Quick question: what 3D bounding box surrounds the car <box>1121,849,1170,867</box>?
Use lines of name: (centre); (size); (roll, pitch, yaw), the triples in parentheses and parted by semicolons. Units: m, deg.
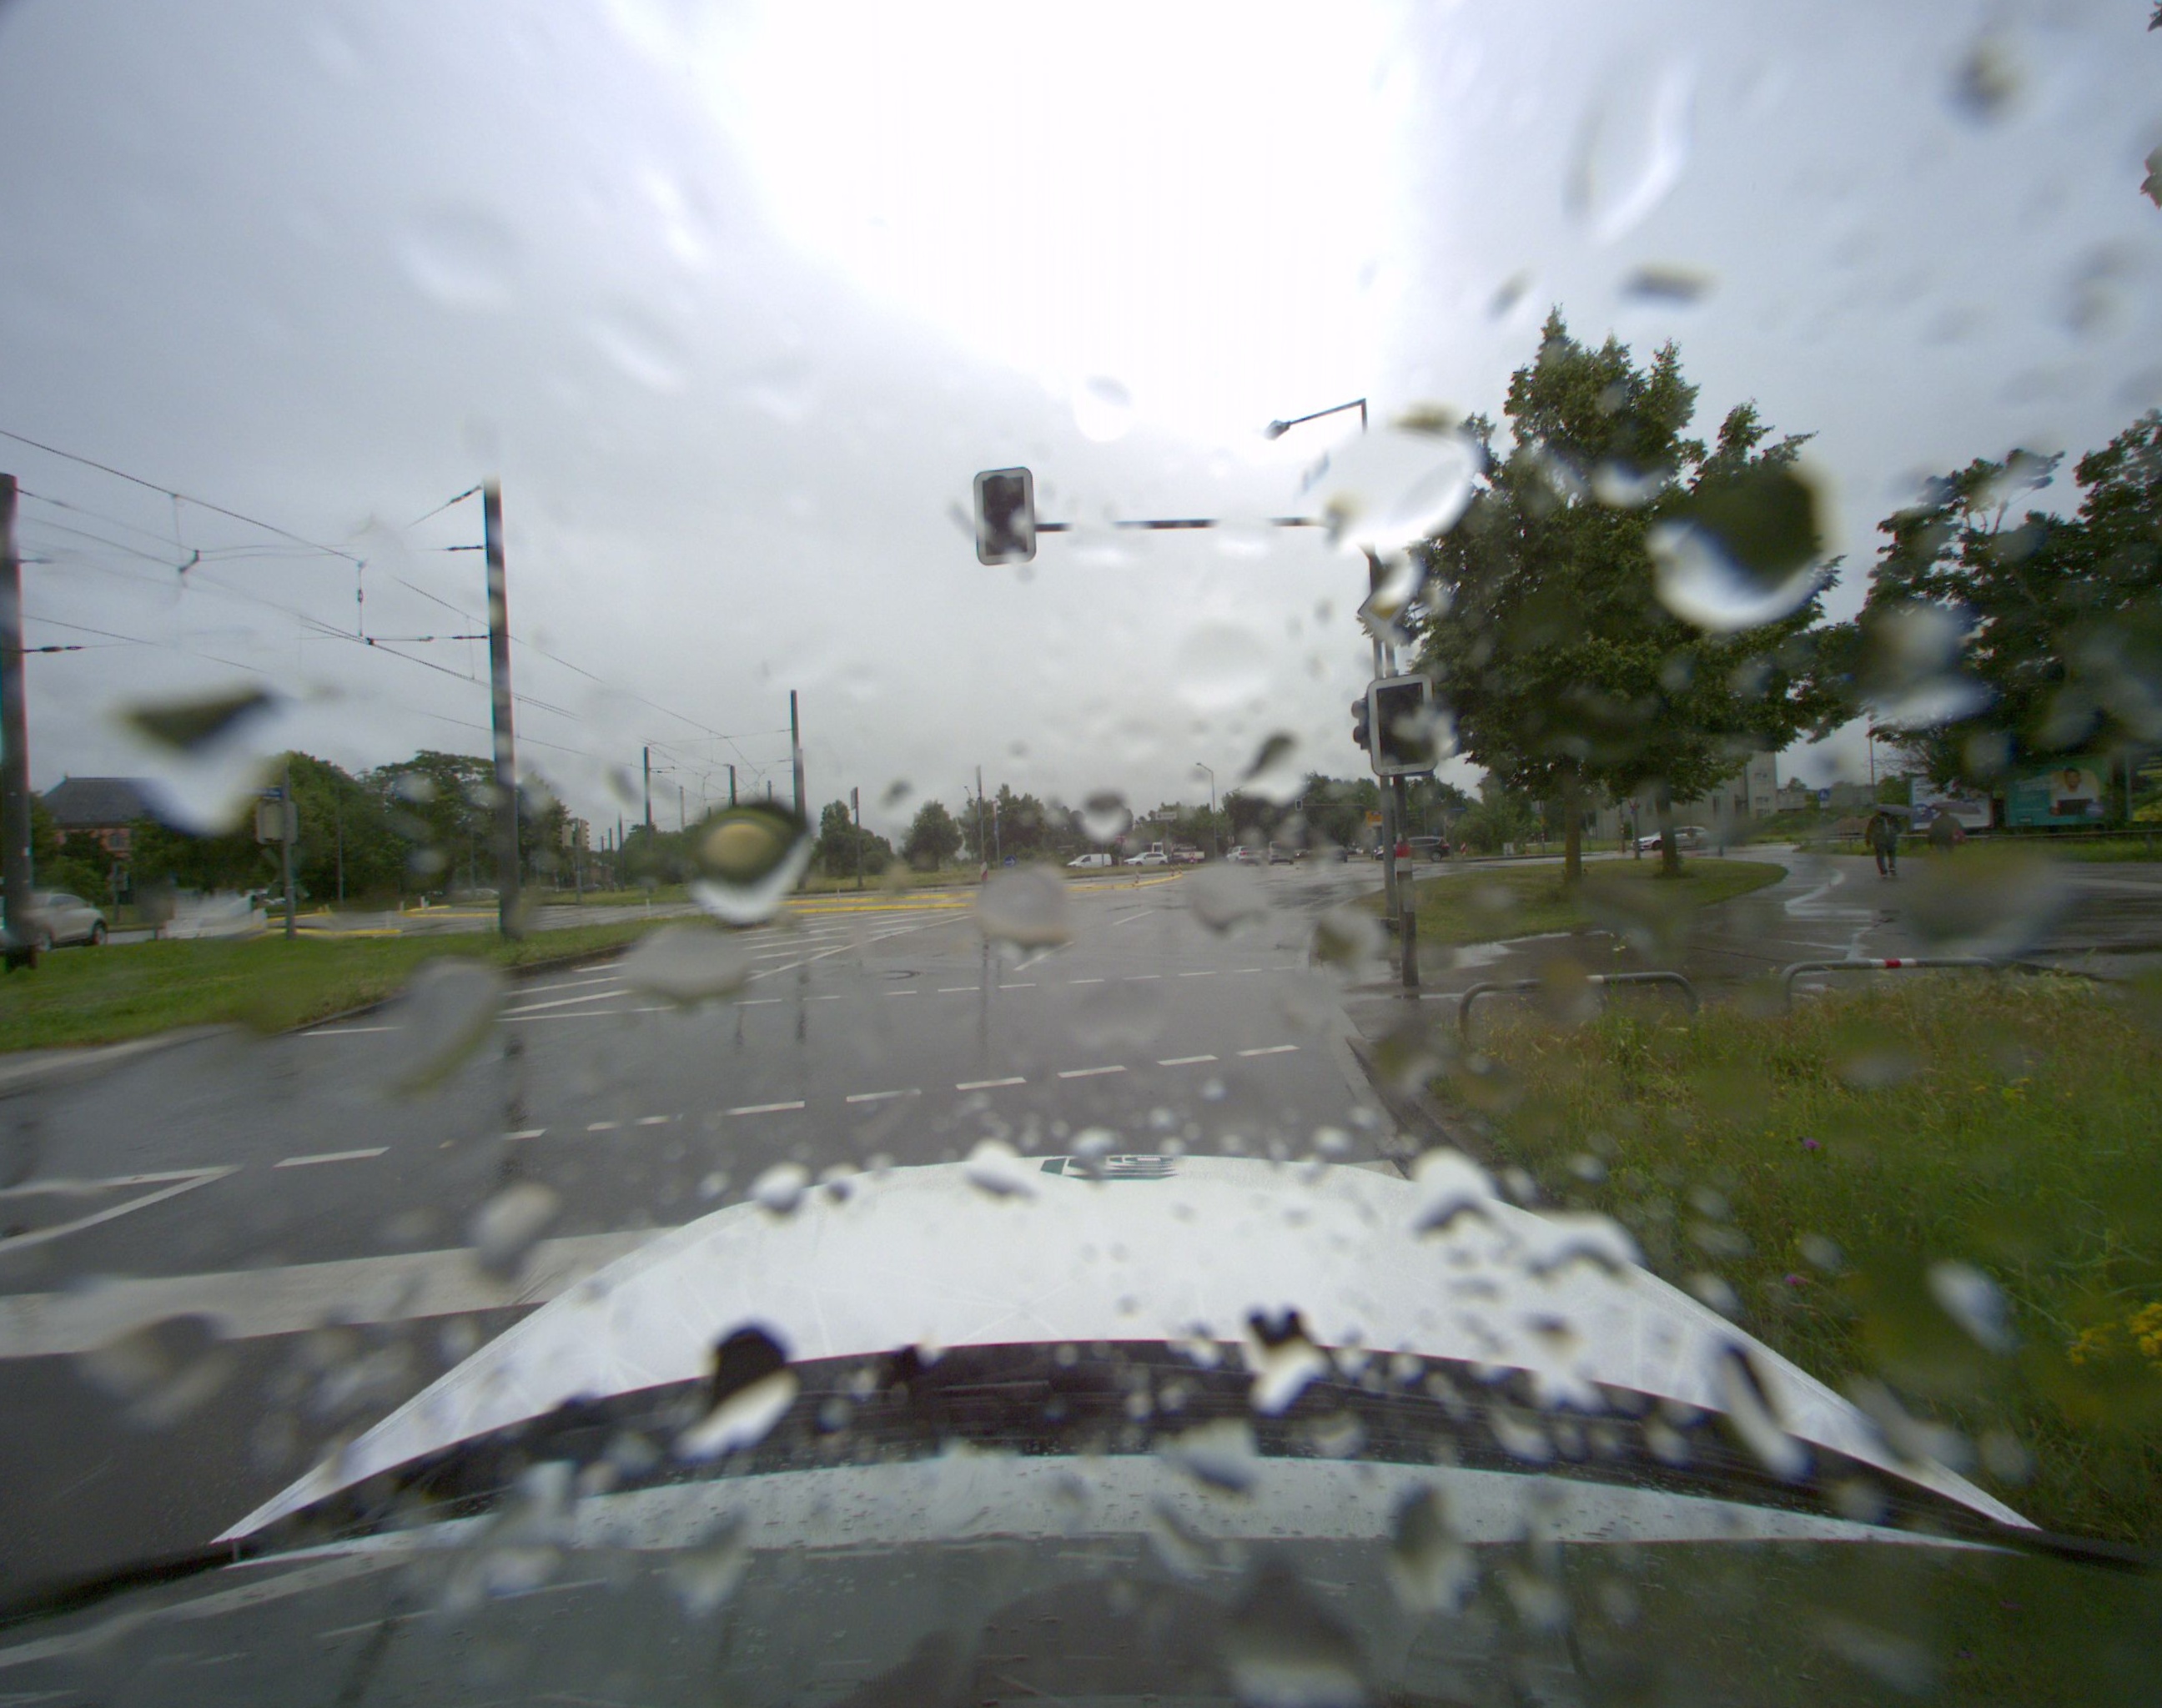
car: (6.638, 0.415, 83.803); (4.881, 1.744, 1.760); (0, -1, -31)

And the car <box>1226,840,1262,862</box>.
car: (12.745, -0.188, 63.936); (1.678, 1.648, 3.939); (0, -1, -6)

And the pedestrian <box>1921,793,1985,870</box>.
pedestrian: (20.948, -0.523, 19.573); (0.811, 1.784, 0.914); (0, -1, -33)

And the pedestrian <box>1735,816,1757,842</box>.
pedestrian: (46.711, -1.762, 57.225); (0.947, 1.772, 0.715); (-1, -1, 11)

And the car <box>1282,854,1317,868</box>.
car: (28.206, 0.899, 104.912); (4.889, 1.744, 1.758); (0, -1, -38)

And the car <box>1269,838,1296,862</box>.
car: (17.431, -0.330, 70.310); (1.768, 2.036, 4.021); (-1, -1, 22)

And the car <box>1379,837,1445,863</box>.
car: (21.702, -0.222, 53.505); (3.954, 1.648, 1.798); (-1, -1, 19)

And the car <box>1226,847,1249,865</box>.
car: (13.860, 0.189, 72.103); (1.676, 1.492, 3.264); (-1, -1, 16)

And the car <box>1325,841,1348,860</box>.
car: (21.245, -0.319, 67.790); (1.676, 1.492, 3.264); (-3, 0, 15)

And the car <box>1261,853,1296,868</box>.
car: (23.610, 0.763, 97.268); (4.894, 1.744, 1.756); (0, -1, -45)

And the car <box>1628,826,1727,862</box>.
car: (37.613, -0.634, 51.415); (4.804, 1.810, 1.790); (-5, 0, 1)

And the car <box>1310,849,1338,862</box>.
car: (33.110, 0.167, 111.112); (1.975, 1.750, 4.023); (-1, -1, 45)

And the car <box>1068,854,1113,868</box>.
car: (0.975, 0.725, 85.287); (4.561, 1.492, 1.597); (0, -1, -29)

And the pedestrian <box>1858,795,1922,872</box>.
pedestrian: (19.352, -0.468, 19.479); (0.811, 1.784, 0.914); (0, -1, -33)

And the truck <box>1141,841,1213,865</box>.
truck: (11.299, -0.098, 95.469); (8.820, 2.711, 1.981); (0, -1, -29)

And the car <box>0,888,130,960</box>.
car: (-25.743, 1.655, 19.858); (1.856, 1.486, 4.188); (0, -1, -28)
